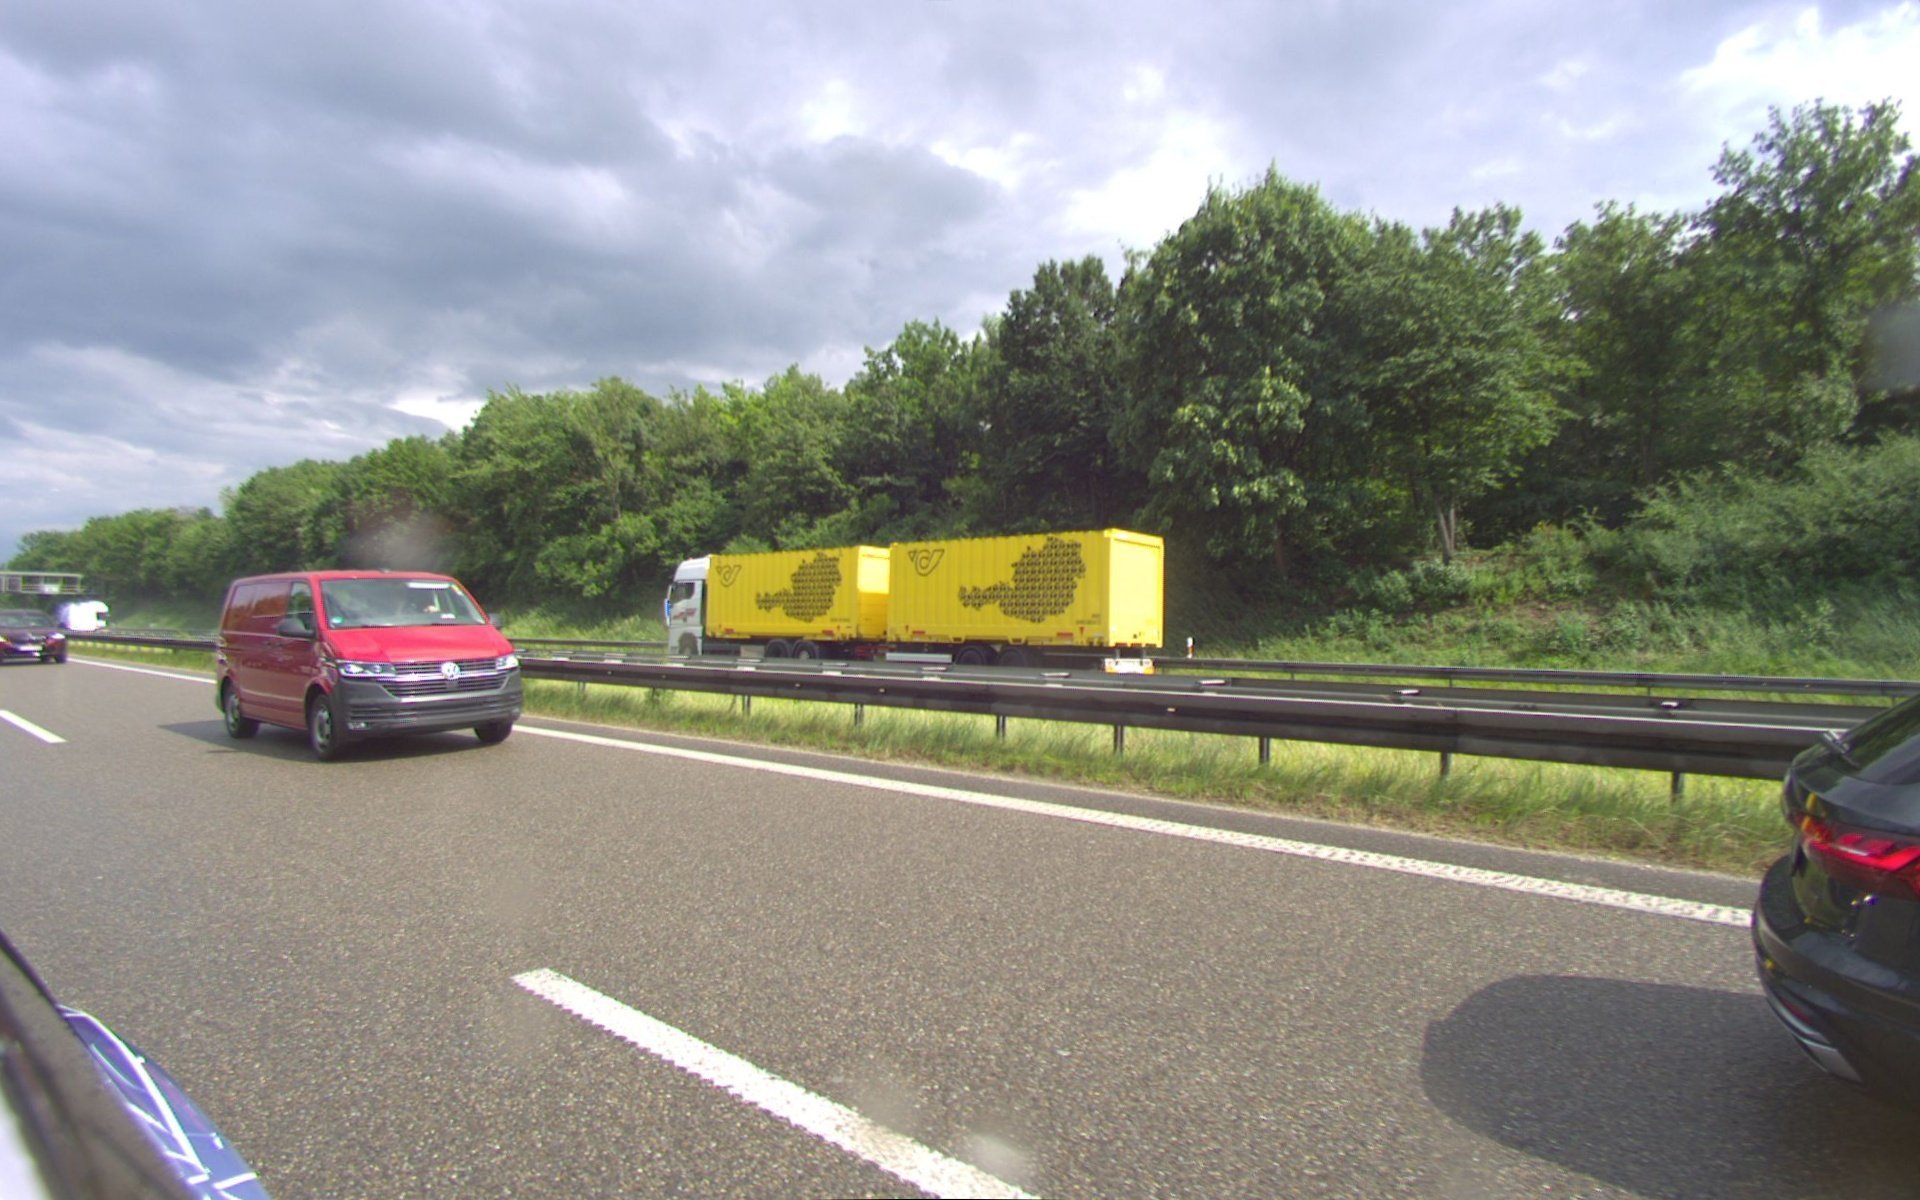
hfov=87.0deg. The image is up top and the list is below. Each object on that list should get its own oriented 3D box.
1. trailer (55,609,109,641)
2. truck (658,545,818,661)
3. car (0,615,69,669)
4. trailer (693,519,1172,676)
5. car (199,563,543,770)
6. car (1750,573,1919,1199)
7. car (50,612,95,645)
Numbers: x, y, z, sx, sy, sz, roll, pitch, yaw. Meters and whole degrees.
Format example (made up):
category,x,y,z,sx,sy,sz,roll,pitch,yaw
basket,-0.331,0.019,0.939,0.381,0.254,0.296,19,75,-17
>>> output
category,x,y,z,sx,sy,sz,roll,pitch,yaw
trailer,-112.817,3.159,129.905,17.945,3.860,2.959,-1,0,42
truck,-7.756,0.113,35.101,5.327,3.692,2.695,-1,0,40
car,-29.266,1.253,31.264,4.836,1.508,1.983,-1,0,41
trailer,-1.844,0.023,30.050,16.664,3.672,2.695,-1,0,40
car,-6.841,0.621,11.512,4.836,1.880,1.902,-1,0,41
car,4.240,0.622,1.445,4.836,1.429,1.776,-1,0,41
car,-82.671,2.638,94.236,6.784,2.892,2.239,-1,0,41
